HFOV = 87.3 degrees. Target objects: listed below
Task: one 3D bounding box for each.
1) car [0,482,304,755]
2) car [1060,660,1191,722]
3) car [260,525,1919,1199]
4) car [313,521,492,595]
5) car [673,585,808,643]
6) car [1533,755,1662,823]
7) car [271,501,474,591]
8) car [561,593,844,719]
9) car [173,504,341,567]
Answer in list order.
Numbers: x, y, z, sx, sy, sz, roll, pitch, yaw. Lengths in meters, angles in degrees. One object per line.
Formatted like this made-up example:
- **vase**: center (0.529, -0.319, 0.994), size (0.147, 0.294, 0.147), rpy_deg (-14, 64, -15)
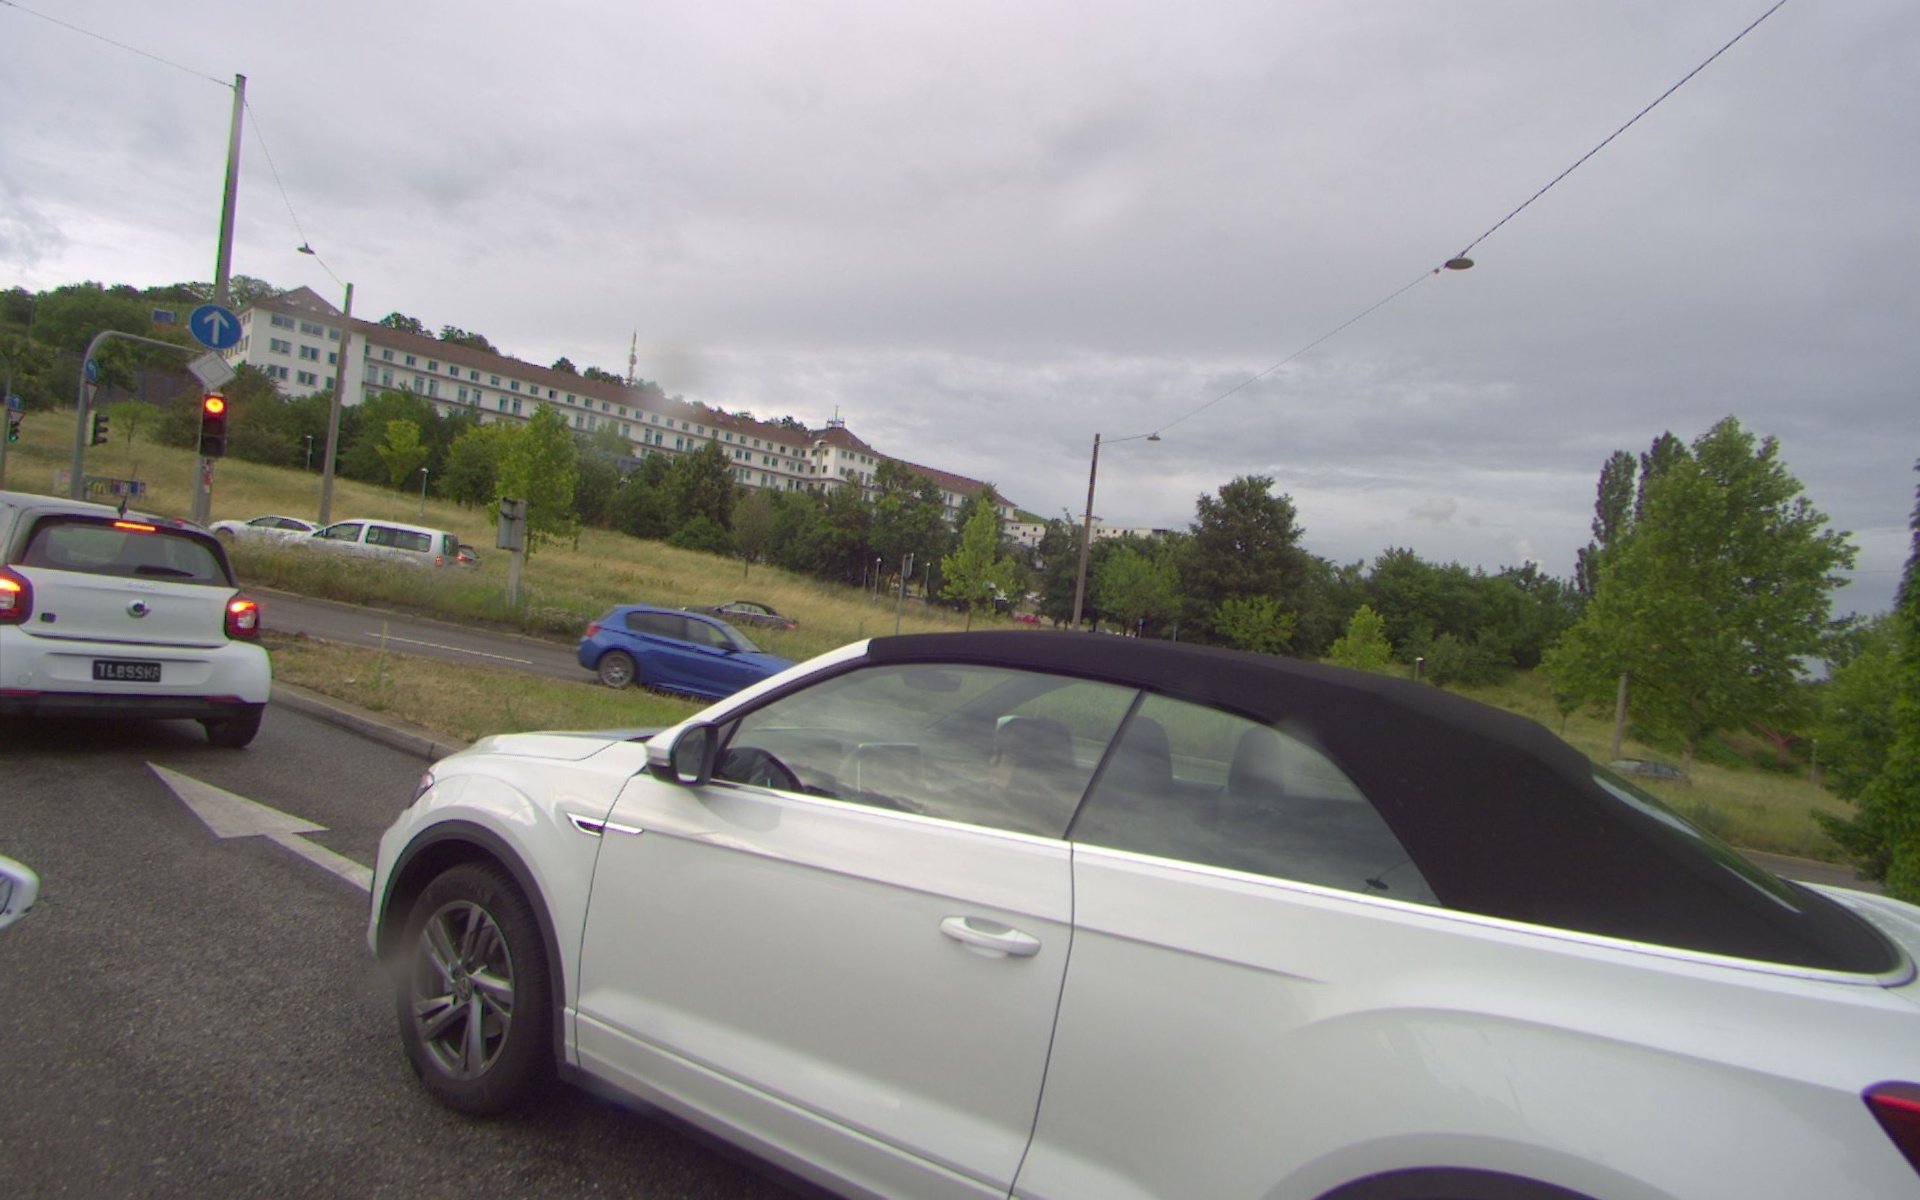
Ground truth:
- **car**: center (-6.348, 0.037, 7.124), size (3.398, 1.520, 1.659), rpy_deg (6, -2, 37)
- **car**: center (6.154, 3.378, 37.652), size (4.342, 1.655, 2.000), rpy_deg (8, -2, -4)
- **car**: center (0.176, 0.831, 2.810), size (4.157, 1.571, 1.717), rpy_deg (6, -2, 29)
- **car**: center (-17.799, -1.294, 32.312), size (4.448, 1.639, 1.998), rpy_deg (8, -2, -9)
- **car**: center (-7.938, 0.537, 36.771), size (4.422, 1.494, 2.000), rpy_deg (8, -2, -3)
- **car**: center (26.003, 7.693, 41.088), size (3.932, 2.037, 1.998), rpy_deg (8, -2, -8)
- **car**: center (-17.093, -1.523, 29.503), size (4.622, 1.871, 1.819), rpy_deg (8, -2, -12)
- **car**: center (-4.241, 0.936, 17.049), size (4.213, 1.492, 1.701), rpy_deg (7, -2, -1)
- **car**: center (-24.850, -2.252, 35.691), size (4.342, 1.494, 2.000), rpy_deg (8, -2, -4)
